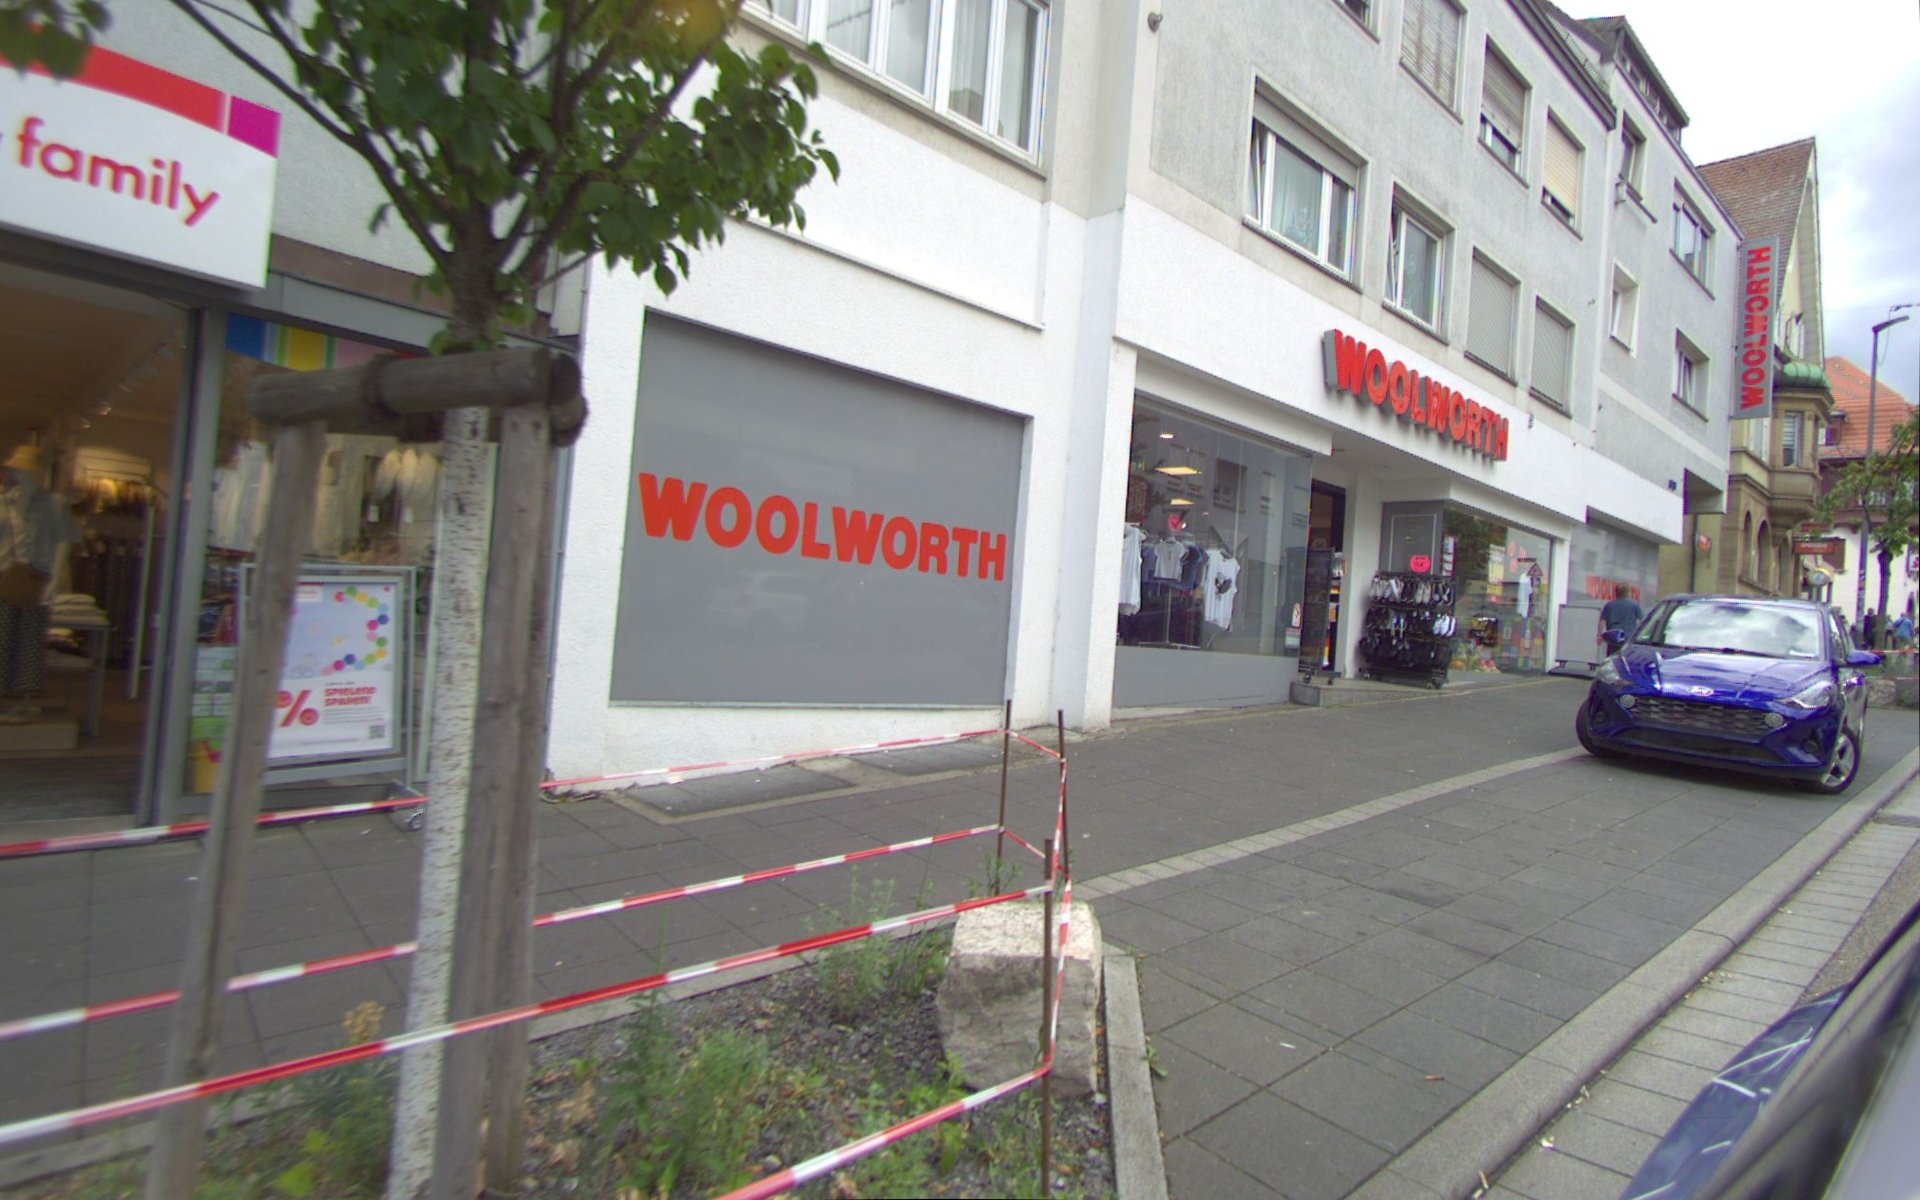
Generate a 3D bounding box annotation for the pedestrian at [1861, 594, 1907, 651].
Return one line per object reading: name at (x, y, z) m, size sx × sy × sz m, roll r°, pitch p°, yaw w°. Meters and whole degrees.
pedestrian at (28.019, 0.685, 30.694) m, size 0.786 × 1.687 × 0.827 m, roll 2°, pitch 0°, yaw -35°

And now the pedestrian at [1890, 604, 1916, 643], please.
pedestrian at (44.227, 1.118, 47.464) m, size 0.803 × 1.791 × 0.776 m, roll 2°, pitch 0°, yaw -39°

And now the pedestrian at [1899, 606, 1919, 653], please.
pedestrian at (36.124, 1.107, 38.242) m, size 1.034 × 1.748 × 0.798 m, roll 2°, pitch 1°, yaw -41°

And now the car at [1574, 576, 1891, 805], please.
car at (7.014, 0.596, 9.047) m, size 1.750 × 1.515 × 3.740 m, roll 6°, pitch 5°, yaw 44°

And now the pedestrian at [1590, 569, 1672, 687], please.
pedestrian at (9.462, 0.380, 14.266) m, size 0.804 × 1.580 × 0.757 m, roll 2°, pitch 1°, yaw -43°
